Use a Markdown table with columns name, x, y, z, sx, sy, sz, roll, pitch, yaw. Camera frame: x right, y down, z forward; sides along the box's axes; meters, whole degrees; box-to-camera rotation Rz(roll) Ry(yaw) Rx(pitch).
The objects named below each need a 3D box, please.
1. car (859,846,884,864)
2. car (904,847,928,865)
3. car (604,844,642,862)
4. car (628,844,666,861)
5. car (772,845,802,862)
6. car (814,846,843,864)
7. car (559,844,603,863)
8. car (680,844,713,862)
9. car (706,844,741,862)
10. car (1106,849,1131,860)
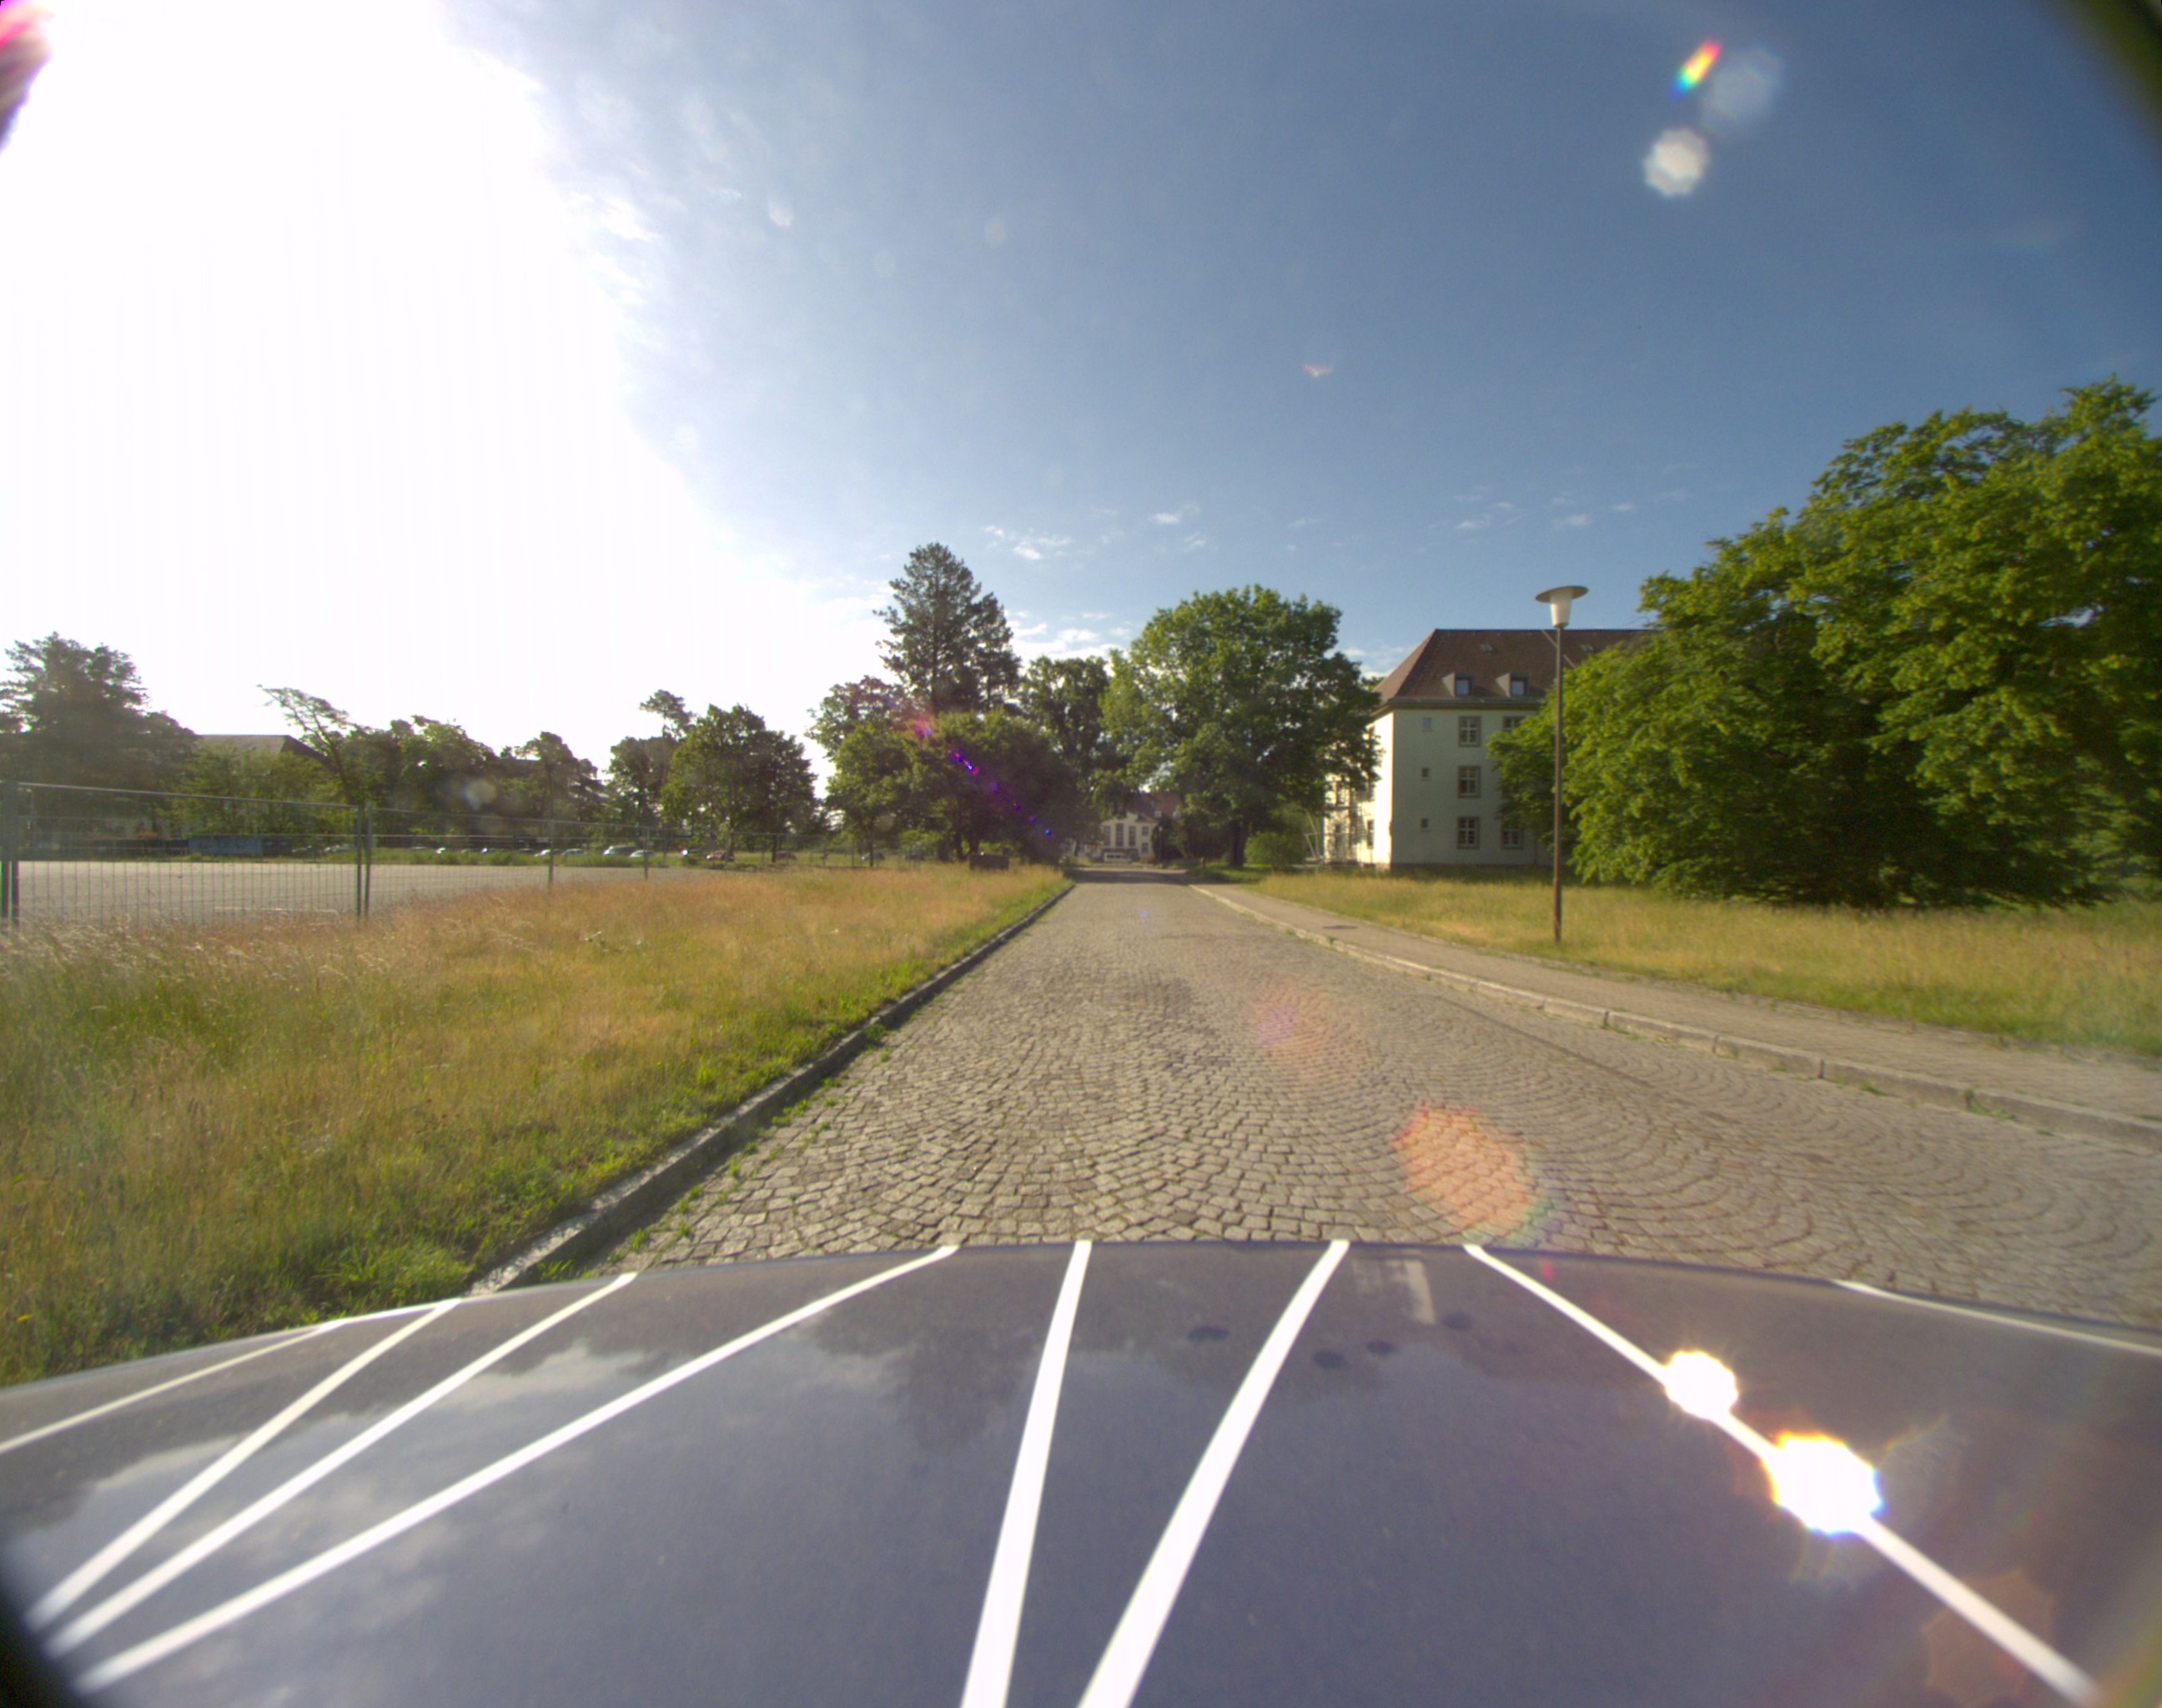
| name | x | y | z | sx | sy | sz | roll | pitch | yaw |
| --- | --- | --- | --- | --- | --- | --- | --- | --- | --- |
| car | -23.715 | 0.096 | 86.119 | 1.999 | 2.002 | 3.998 | 1 | 0 | -4 |
| car | -18.553 | 0.180 | 85.664 | 1.999 | 2.002 | 3.998 | 1 | 0 | -4 |
| car | -52.556 | -0.116 | 87.299 | 1.998 | 2.002 | 4.000 | 1 | 0 | 0 |
| car | -50.075 | -0.164 | 87.726 | 1.998 | 1.936 | 4.000 | 1 | 0 | 0 |
| car | -33.543 | -0.048 | 86.790 | 1.999 | 1.805 | 3.998 | 1 | 0 | -4 |
| car | -28.889 | 0.091 | 86.976 | 1.998 | 2.002 | 4.000 | 1 | 0 | 0 |
| car | -57.865 | -0.086 | 87.975 | 1.997 | 2.002 | 4.002 | -2 | 1 | 9 |
| car | -43.966 | -0.097 | 87.002 | 2.000 | 2.002 | 3.997 | 1 | 0 | -6 |
| car | -41.000 | -0.084 | 87.192 | 1.998 | 2.002 | 4.000 | 1 | 0 | 1 |
| car | 7.242 | 0.039 | 147.055 | 4.869 | 2.083 | 2.000 | 1 | 1 | 2 |
